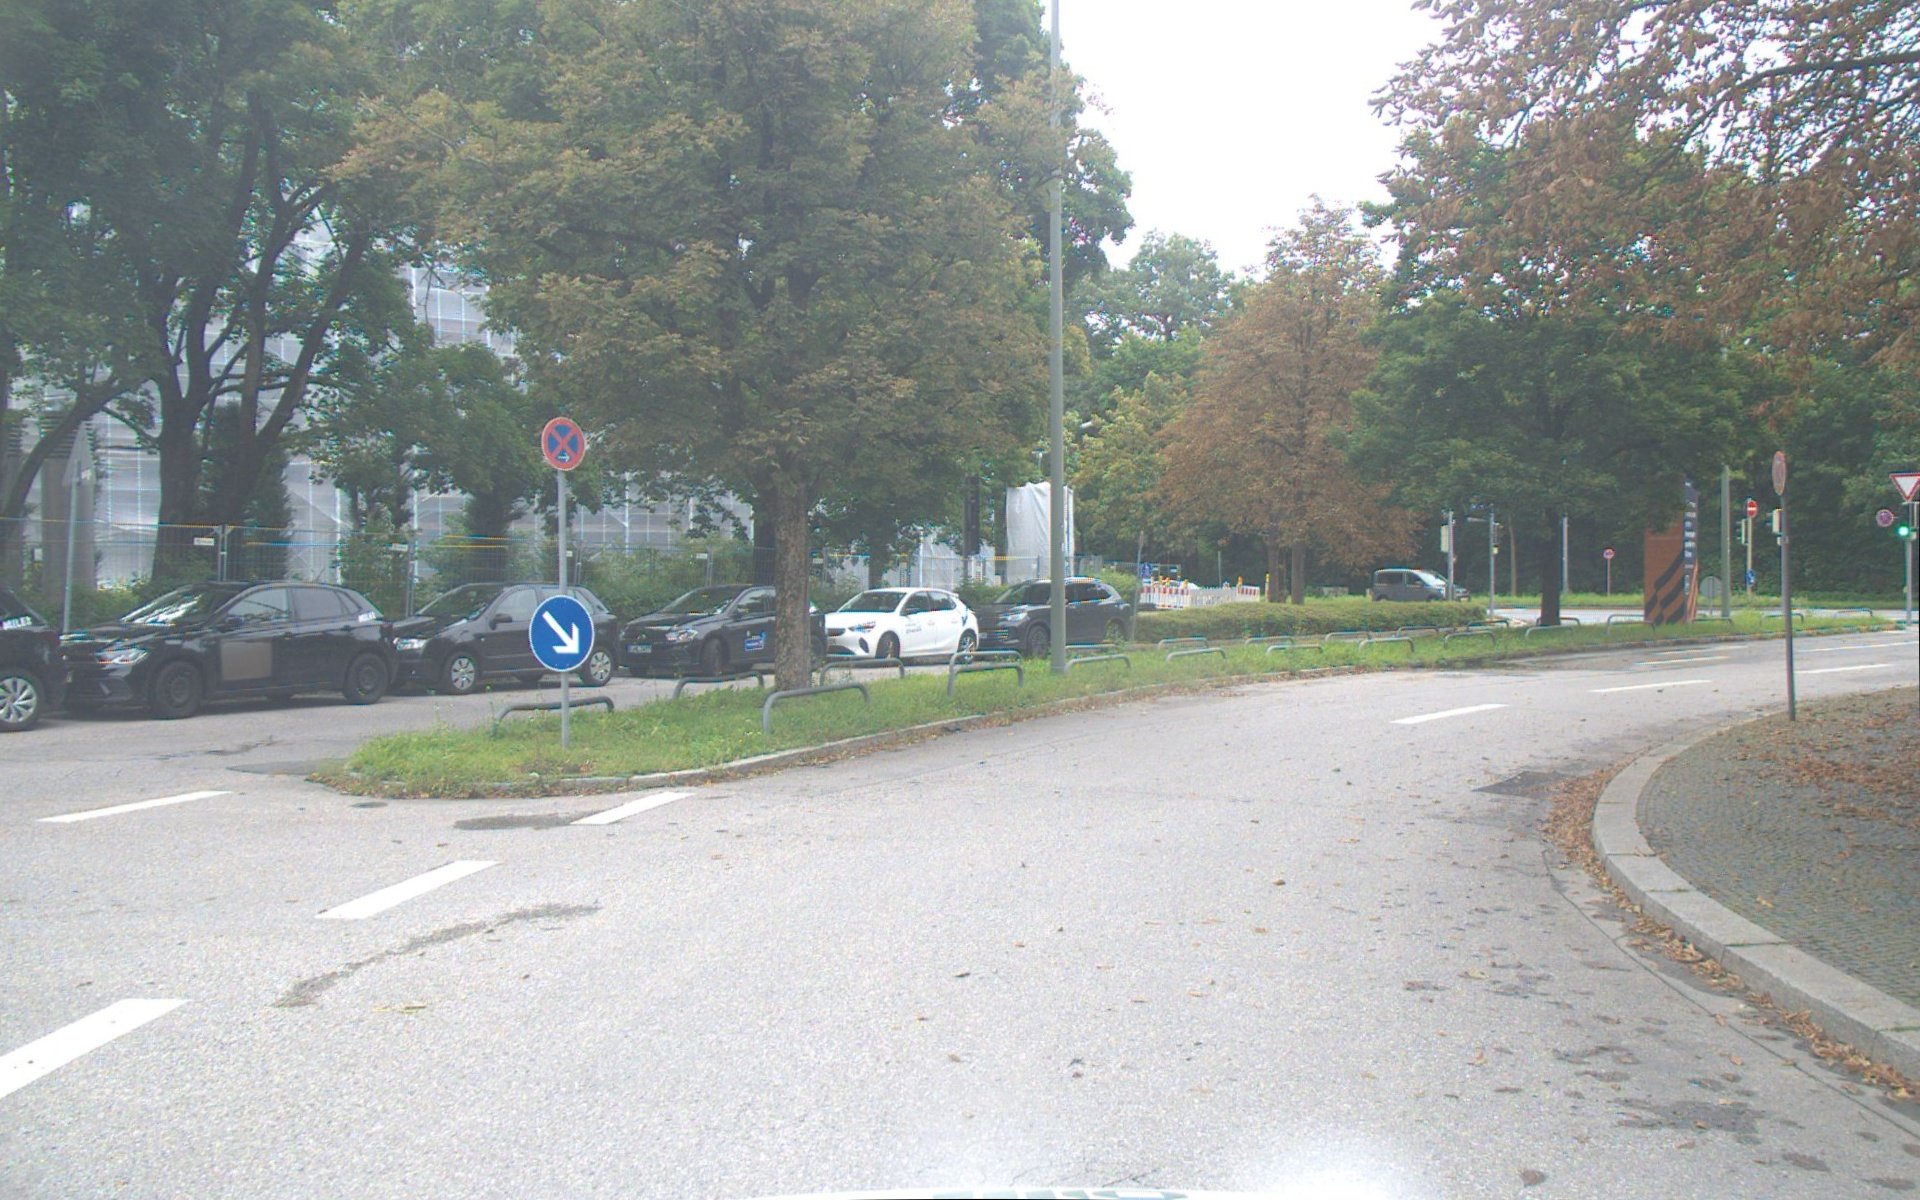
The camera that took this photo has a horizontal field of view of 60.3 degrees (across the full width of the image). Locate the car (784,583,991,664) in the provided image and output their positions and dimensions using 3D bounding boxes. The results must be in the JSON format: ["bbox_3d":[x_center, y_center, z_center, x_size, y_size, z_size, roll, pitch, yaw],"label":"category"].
[{"bbox_3d":[-1.279,0.396,30.972,1.764,1.408,4.206,-1,0,33],"label":"car"}]

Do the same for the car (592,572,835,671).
[{"bbox_3d":[-3.913,0.318,26.872,1.800,1.486,3.997,-1,0,31],"label":"car"}]

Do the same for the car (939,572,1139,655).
[{"bbox_3d":[1.714,0.314,34.549,1.858,1.634,4.370,-1,-2,42],"label":"car"}]

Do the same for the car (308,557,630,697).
[{"bbox_3d":[-6.629,0.330,22.713,1.957,1.736,3.991,-1,0,31],"label":"car"}]

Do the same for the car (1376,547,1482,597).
[{"bbox_3d":[19.853,-1.176,70.172,1.981,2.049,3.943,-1,1,-39],"label":"car"}]

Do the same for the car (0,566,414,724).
[{"bbox_3d":[-8.400,0.431,18.604,1.957,1.568,3.991,0,0,31],"label":"car"}]

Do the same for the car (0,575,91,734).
[{"bbox_3d":[-10.405,0.510,15.027,1.957,1.457,4.033,2,2,31],"label":"car"}]
